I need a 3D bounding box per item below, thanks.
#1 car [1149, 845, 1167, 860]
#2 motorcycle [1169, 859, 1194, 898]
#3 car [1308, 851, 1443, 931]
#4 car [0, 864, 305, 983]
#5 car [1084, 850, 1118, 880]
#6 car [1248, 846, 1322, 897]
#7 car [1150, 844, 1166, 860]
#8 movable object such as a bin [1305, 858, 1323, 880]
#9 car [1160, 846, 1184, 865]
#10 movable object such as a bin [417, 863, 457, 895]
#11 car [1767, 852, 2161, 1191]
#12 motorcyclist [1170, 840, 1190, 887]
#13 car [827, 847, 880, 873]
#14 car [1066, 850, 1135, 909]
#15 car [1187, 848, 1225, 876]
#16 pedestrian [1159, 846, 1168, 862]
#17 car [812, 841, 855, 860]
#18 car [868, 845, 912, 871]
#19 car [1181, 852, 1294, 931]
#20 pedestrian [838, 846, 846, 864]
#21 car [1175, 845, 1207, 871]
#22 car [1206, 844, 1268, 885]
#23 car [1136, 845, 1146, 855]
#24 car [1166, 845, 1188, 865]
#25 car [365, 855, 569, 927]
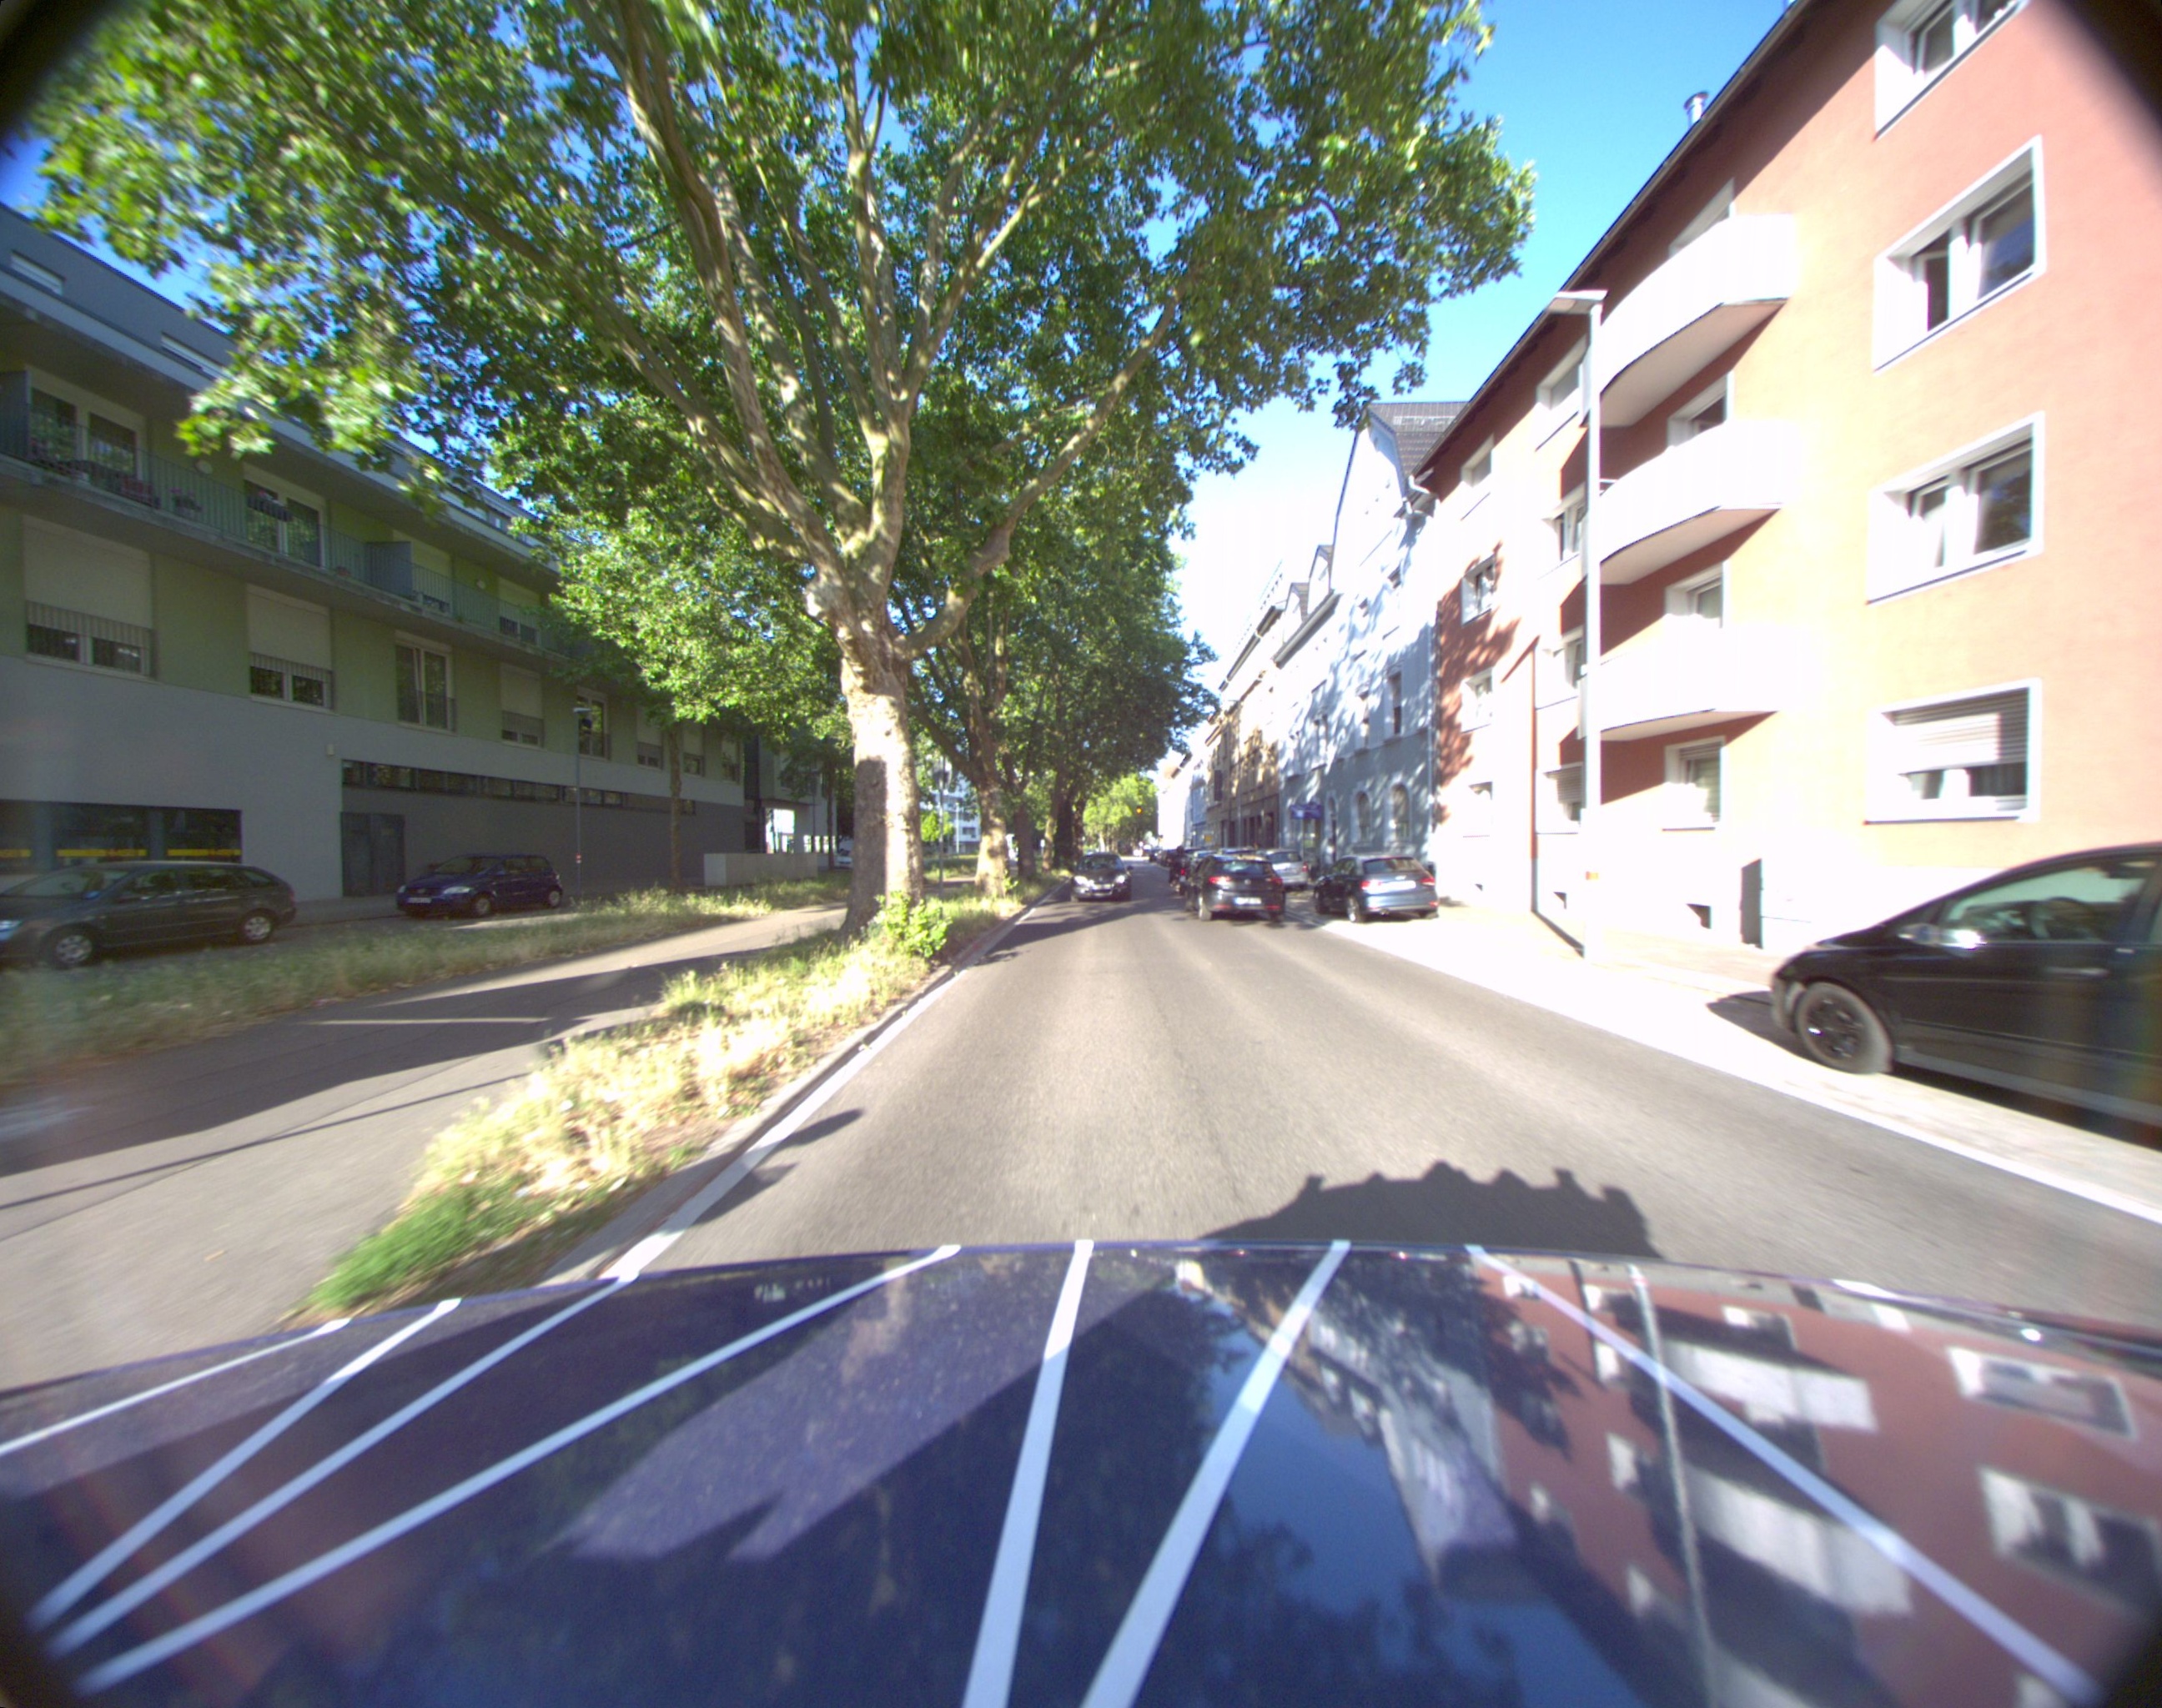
[{"bbox_3d":[8.992,-0.205,88.829,1.910,1.663,4.494,-2,1,6],"label":"car"},{"bbox_3d":[3.433,0.819,26.130,0.548,1.234,2.264,2,1,1],"label":"motorcycle"},{"bbox_3d":[6.323,0.722,16.734,1.681,1.478,3.601,-2,1,3],"label":"car"},{"bbox_3d":[-15.021,0.934,11.710,1.864,1.460,4.123,0,1,0],"label":"car"},{"bbox_3d":[1.040,0.556,39.051,1.654,1.445,3.535,0,1,2],"label":"car"},{"bbox_3d":[7.153,0.550,27.062,1.682,1.632,3.985,-2,1,3],"label":"car"},{"bbox_3d":[9.567,-0.274,94.575,1.668,1.808,4.005,-2,1,4],"label":"car"},{"bbox_3d":[9.944,0.641,32.416,0.558,0.941,0.669,0,1,2],"label":"movable object such as a bin"},{"bbox_3d":[8.311,0.127,69.724,1.785,1.663,4.156,-2,1,3],"label":"car"},{"bbox_3d":[-19.428,0.736,22.943,0.630,0.937,0.663,0,1,2],"label":"movable object such as a bin"},{"bbox_3d":[5.915,0.799,3.668,1.681,1.515,4.021,-2,1,3],"label":"car"},{"bbox_3d":[3.409,0.328,26.293,0.587,1.596,0.831,0,1,1],"label":"motorcyclist"},{"bbox_3d":[-13.983,0.316,46.939,1.863,1.534,4.320,0,1,2],"label":"car"},{"bbox_3d":[0.644,0.698,23.161,1.844,1.536,4.524,-2,1,3],"label":"car"},{"bbox_3d":[7.147,0.439,43.735,1.681,1.488,3.872,-2,1,3],"label":"car"},{"bbox_3d":[8.173,0.027,75.575,0.865,1.561,0.706,0,1,5],"label":"pedestrian"},{"bbox_3d":[-21.193,-0.305,65.234,1.672,1.446,3.564,0,-2,18],"label":"car"},{"bbox_3d":[-13.561,0.274,54.159,1.909,1.761,4.320,0,1,2],"label":"car"},{"bbox_3d":[3.432,0.752,17.429,1.775,1.470,4.322,-2,1,2],"label":"car"},{"bbox_3d":[-23.933,0.130,76.112,0.559,1.742,0.532,-1,3,13],"label":"pedestrian"},{"bbox_3d":[7.193,0.258,49.995,1.681,1.575,4.200,-2,1,3],"label":"car"},{"bbox_3d":[6.732,0.399,33.295,1.912,1.632,4.577,-2,1,3],"label":"car"},{"bbox_3d":[11.392,-0.747,143.888,1.897,1.782,4.001,0,1,4],"label":"car"},{"bbox_3d":[8.112,0.077,64.332,1.681,1.595,3.706,-2,1,5],"label":"car"},{"bbox_3d":[-14.818,0.814,18.657,1.863,1.544,3.759,0,1,2],"label":"car"}]
